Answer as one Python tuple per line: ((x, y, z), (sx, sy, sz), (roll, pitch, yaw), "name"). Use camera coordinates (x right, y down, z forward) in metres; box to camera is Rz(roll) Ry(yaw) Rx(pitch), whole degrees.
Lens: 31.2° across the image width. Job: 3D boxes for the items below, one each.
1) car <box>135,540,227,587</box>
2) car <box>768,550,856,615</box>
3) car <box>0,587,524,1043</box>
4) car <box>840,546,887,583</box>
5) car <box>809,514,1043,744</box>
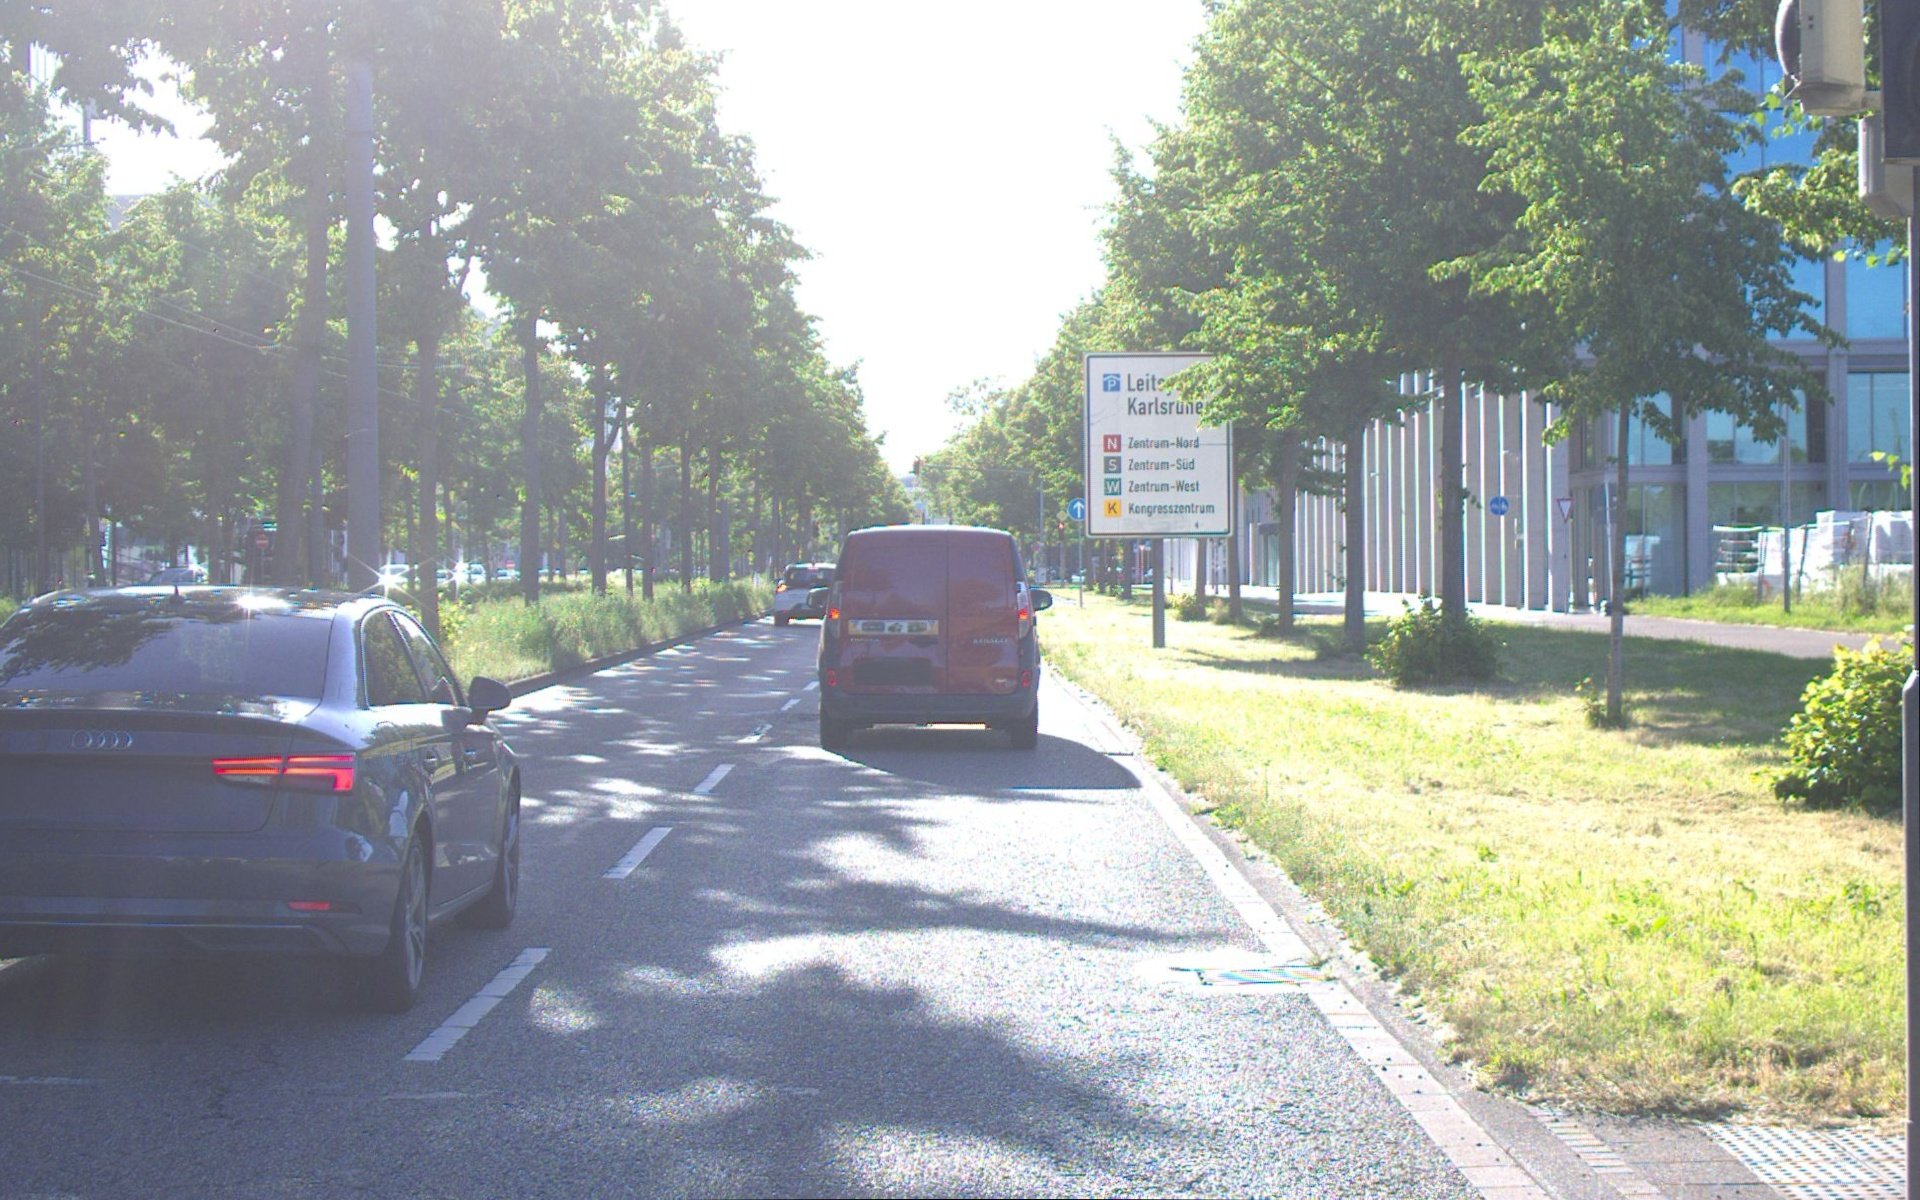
((-23.313, -1.101, 103.016), (1.797, 1.287, 4.311), (-1, 2, -1), "car")
((-3.383, -0.424, 78.673), (1.942, 1.436, 4.000), (-1, 1, -2), "car")
((-2.669, 0.638, 12.389), (1.721, 1.362, 4.146), (0, 0, -1), "car")
((-4.116, -1.520, 146.957), (1.843, 1.529, 3.940), (-1, 1, 1), "car")
((-0.314, 0.195, 28.750), (1.797, 1.771, 4.000), (-1, 1, -1), "car")
